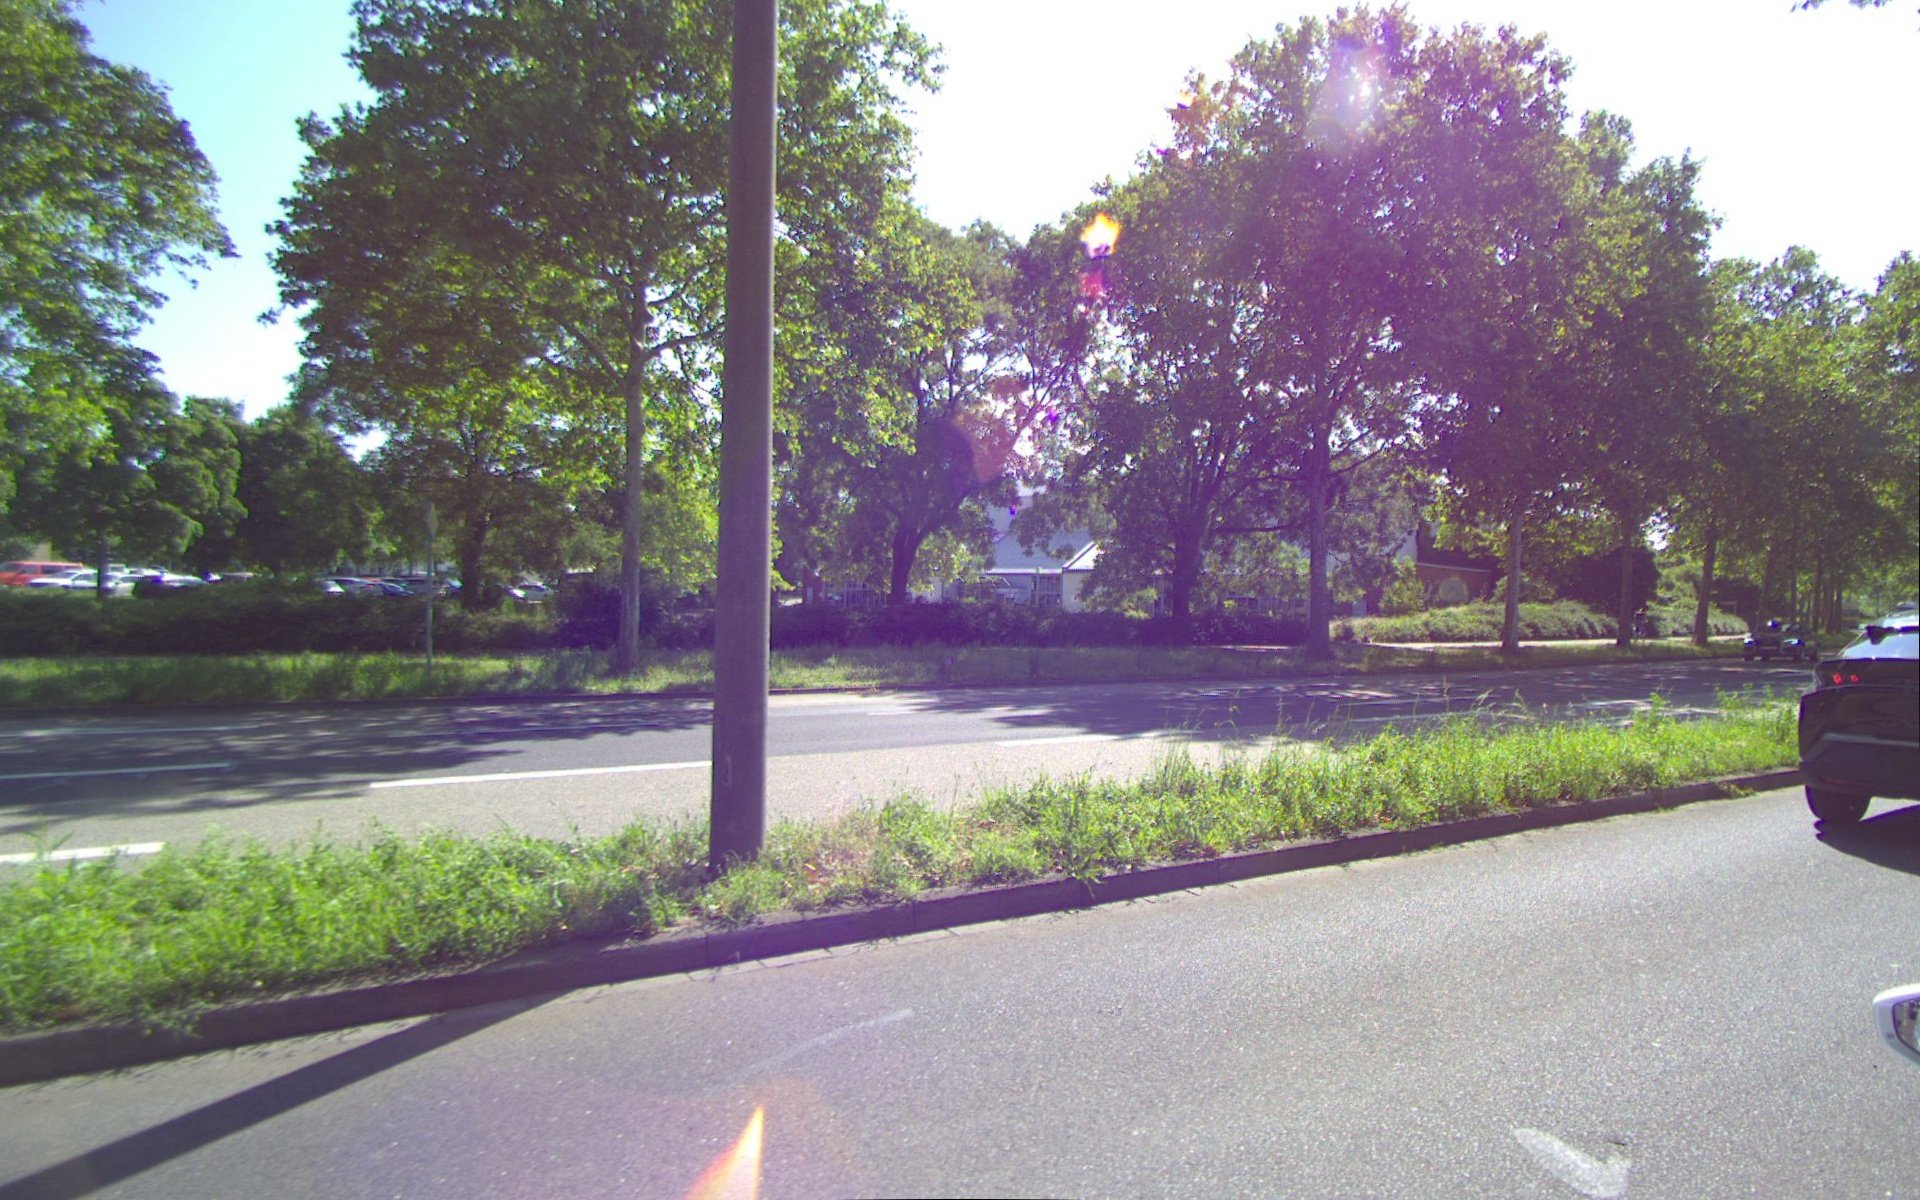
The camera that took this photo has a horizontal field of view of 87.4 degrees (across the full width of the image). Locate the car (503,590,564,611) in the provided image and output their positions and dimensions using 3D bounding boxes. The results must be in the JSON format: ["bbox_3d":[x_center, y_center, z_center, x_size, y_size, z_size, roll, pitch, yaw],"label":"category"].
[{"bbox_3d":[-33.091,0.052,78.033,3.921,1.511,1.817,1,0,-1],"label":"car"}]

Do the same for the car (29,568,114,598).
[{"bbox_3d":[-47.453,-0.887,53.715,1.321,1.466,3.343,2,0,8],"label":"car"}]

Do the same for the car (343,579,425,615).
[{"bbox_3d":[-35.104,-0.178,61.298,3.920,2.040,1.818,1,0,2],"label":"car"}]

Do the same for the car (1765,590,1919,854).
[{"bbox_3d":[8.180,0.854,7.634,4.386,1.719,1.862,2,-1,-32],"label":"car"}]

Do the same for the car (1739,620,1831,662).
[{"bbox_3d":[32.828,1.610,39.933,4.353,1.577,1.782,2,-1,-36],"label":"car"}]

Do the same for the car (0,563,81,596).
[{"bbox_3d":[-50.438,-1.111,54.418,1.778,1.725,3.989,2,0,8],"label":"car"}]

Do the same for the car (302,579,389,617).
[{"bbox_3d":[-35.776,-0.113,58.524,3.920,2.040,1.818,1,0,2],"label":"car"}]

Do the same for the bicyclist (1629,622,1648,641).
[{"bbox_3d":[37.118,1.717,54.961,1.412,1.027,0.425,1,0,-38],"label":"bicyclist"}]

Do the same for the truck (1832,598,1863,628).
[{"bbox_3d":[109.977,1.584,124.538,2.421,3.496,7.065,4,3,39],"label":"truck"}]

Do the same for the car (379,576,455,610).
[{"bbox_3d":[-34.985,-0.443,64.775,3.920,2.040,1.818,1,0,2],"label":"car"}]

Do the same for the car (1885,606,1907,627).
[{"bbox_3d":[165.104,2.864,177.175,2.422,3.496,7.061,4,3,41],"label":"car"}]

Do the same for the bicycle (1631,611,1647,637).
[{"bbox_3d":[37.147,1.320,54.965,0.946,1.403,0.425,1,0,-38],"label":"bicycle"}]

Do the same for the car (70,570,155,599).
[{"bbox_3d":[-44.848,-0.807,53.246,1.419,1.466,3.343,2,0,8],"label":"car"}]
